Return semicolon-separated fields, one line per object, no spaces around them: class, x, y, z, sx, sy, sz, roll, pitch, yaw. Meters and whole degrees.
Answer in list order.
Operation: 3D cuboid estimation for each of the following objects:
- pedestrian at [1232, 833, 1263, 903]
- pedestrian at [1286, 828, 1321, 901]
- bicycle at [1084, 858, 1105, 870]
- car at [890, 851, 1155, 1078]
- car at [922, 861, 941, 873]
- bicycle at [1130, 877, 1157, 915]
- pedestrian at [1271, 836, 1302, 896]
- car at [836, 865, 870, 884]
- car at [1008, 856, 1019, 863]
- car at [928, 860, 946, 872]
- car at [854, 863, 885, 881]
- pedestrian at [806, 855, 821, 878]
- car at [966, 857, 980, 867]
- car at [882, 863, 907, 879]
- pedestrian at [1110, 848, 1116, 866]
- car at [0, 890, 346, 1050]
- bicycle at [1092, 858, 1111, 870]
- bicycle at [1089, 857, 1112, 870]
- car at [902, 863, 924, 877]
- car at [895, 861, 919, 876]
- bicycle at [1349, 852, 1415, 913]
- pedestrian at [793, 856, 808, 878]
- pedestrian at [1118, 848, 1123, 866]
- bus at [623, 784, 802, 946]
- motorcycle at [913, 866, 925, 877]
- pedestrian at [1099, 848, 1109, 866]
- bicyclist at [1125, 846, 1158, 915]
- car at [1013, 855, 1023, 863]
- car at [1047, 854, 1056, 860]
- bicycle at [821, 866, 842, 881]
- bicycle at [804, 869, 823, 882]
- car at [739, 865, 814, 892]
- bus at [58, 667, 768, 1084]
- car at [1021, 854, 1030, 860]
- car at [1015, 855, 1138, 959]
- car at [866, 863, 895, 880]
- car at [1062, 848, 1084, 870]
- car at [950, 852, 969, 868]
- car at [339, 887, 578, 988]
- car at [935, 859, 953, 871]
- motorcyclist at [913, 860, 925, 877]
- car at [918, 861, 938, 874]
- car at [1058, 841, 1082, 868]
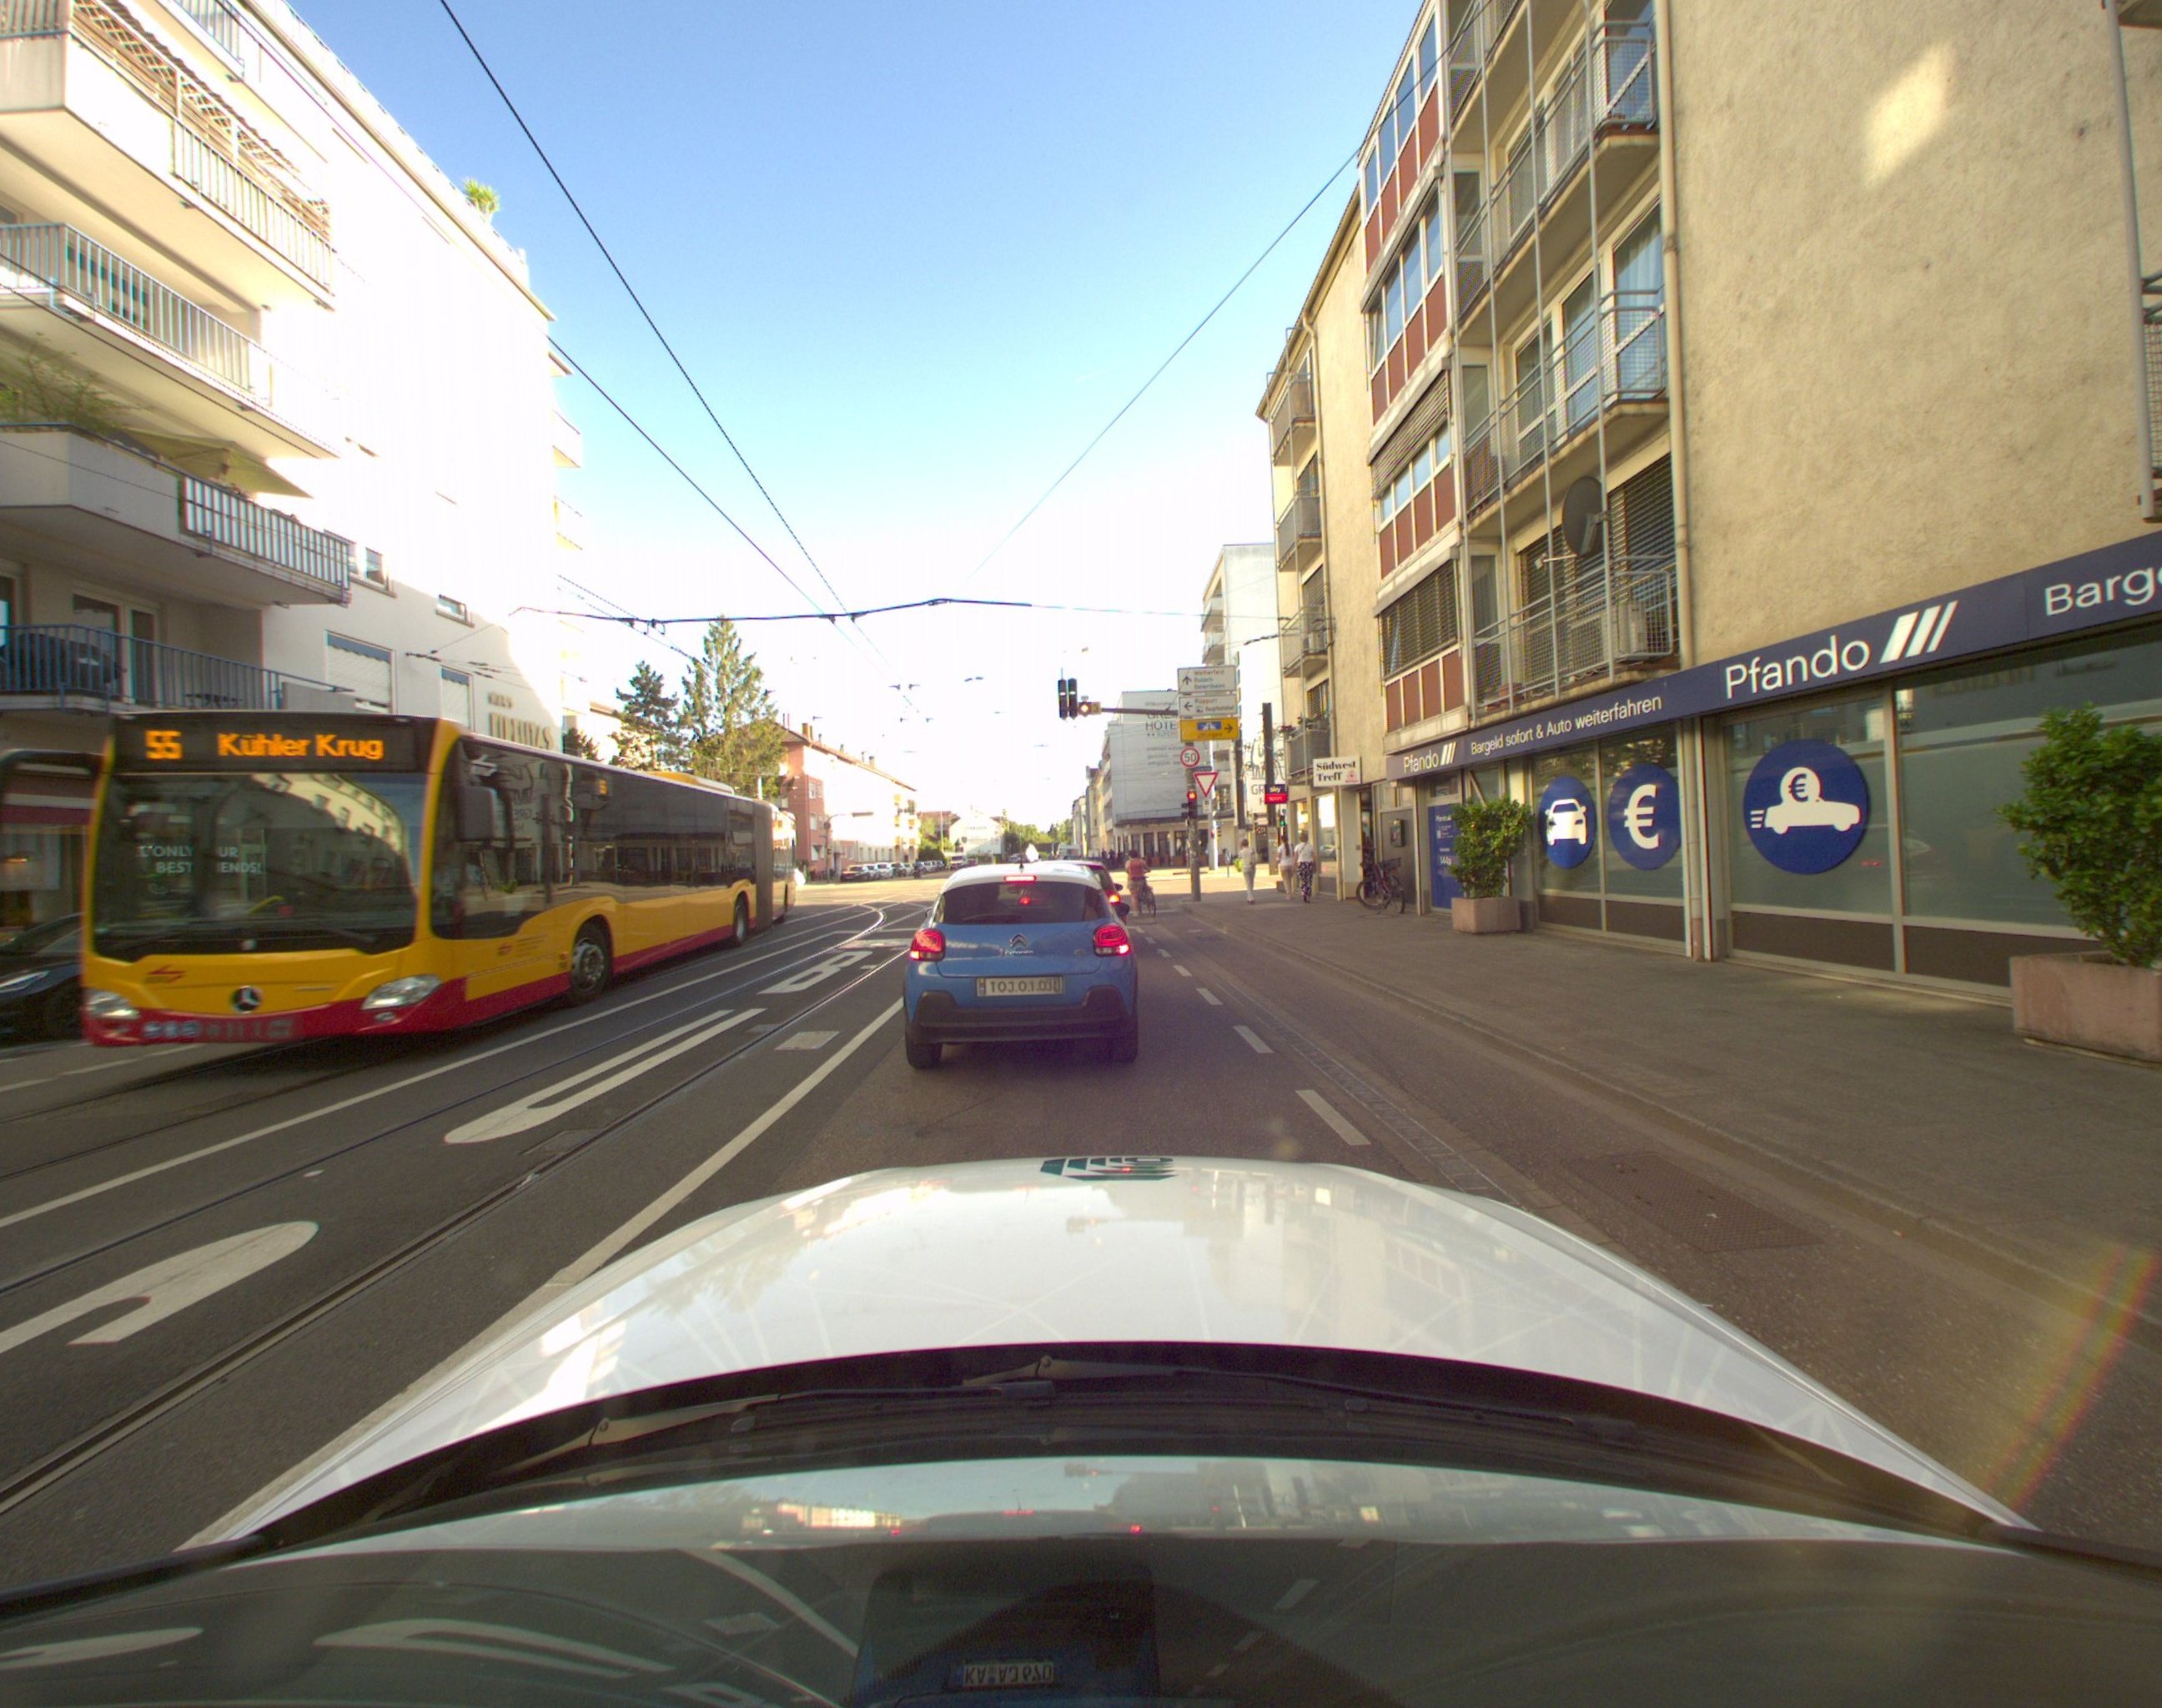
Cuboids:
pedestrian;4.141;0.337;20.253;0.539;1.672;0.624;-4;1;0
pedestrian;5.300;0.238;19.423;0.539;1.672;0.650;-4;0;0
bicycle;1.139;0.833;68.541;1.713;0.957;0.702;-3;0;3
car;-0.517;0.731;7.440;1.740;1.462;3.994;-1;0;-4
car;-20.517;1.773;111.749;1.906;1.497;3.997;-3;0;-2
bicycle;1.578;1.052;20.765;0.497;0.864;1.748;-2;0;0
pedestrian;5.314;0.300;21.075;0.539;1.507;0.611;-4;1;0
car;-19.416;1.689;69.446;1.907;1.433;3.995;-3;0;-4
car;-14.048;1.134;169.976;2.016;1.525;3.997;-2;0;-2
car;-20.600;1.747;116.847;1.865;1.574;3.998;-2;0;-2
car;-19.511;1.640;75.180;1.906;1.497;3.997;-3;0;-2
pedestrian;-21.091;0.978;64.145;0.840;1.690;0.738;-2;0;4
car;-19.176;1.420;145.230;2.016;1.525;3.997;-2;0;-2
car;-19.798;1.788;86.600;1.906;1.497;3.997;-3;0;-2
pedestrian;2.760;0.276;70.083;0.490;1.556;0.383;-3;0;-2
car;-12.000;1.299;10.206;1.694;1.509;4.310;-1;-1;-1
bicycle;1.674;0.805;66.109;1.497;0.957;0.702;-3;0;3
bicycle;1.618;0.811;67.170;1.866;0.957;0.702;-3;0;3
car;-20.202;1.950;98.328;1.906;1.497;3.997;-3;0;-2
car;-19.798;1.647;92.743;1.906;1.497;3.997;-3;0;-2
bicycle;5.762;0.518;15.683;0.528;1.072;1.810;-2;0;-1
pedestrian;-21.987;1.001;63.847;0.840;1.690;0.738;-2;0;4
pedestrian;3.421;0.267;70.229;0.284;1.556;0.304;-2;0;-7
bus;-8.682;0.212;20.157;2.743;3.161;7.538;-2;0;-15
motorcycle;-13.473;1.475;67.756;0.613;0.864;1.671;-2;0;2
pedestrian;2.063;0.264;72.827;0.648;1.556;0.490;-2;0;-20
bicyclist;1.503;0.652;20.375;0.723;1.646;0.790;-2;0;1
car;-14.404;1.155;187.371;2.016;1.525;3.997;-3;0;-2
car;-6.494;0.661;179.979;1.752;1.259;3.825;-2;0;-5
bicycle;-22.800;1.792;74.534;0.845;1.225;3.304;-2;0;0
bicycle;-22.455;1.787;68.353;0.730;0.952;2.597;-2;0;0
car;-20.720;1.652;55.570;1.832;1.574;4.429;-3;0;41
bus;-7.101;0.131;11.445;2.721;3.158;10.166;-2;0;-8
car;-14.733;0.811;216.127;1.992;1.684;3.989;-3;0;-8
car;-0.002;0.770;13.798;1.732;1.420;4.002;-2;0;2
car;-19.574;1.689;79.808;1.906;1.497;3.997;-3;0;-2
car;-0.711;0.382;67.704;1.727;1.750;3.212;-1;0;-1
car;-17.892;0.811;119.863;2.201;2.251;4.673;-3;0;-2
car;-11.808;1.497;15.845;1.741;1.509;3.995;-1;0;-4
car;-20.556;1.678;122.276;2.024;1.619;4.509;-3;0;-1
motorcyclist;-13.480;1.188;67.602;0.716;1.378;0.912;-2;0;2
car;-20.016;1.732;106.734;1.906;1.497;3.997;-3;0;-2
car;-0.992;0.067;72.631;1.988;2.325;3.998;-1;0;-1
